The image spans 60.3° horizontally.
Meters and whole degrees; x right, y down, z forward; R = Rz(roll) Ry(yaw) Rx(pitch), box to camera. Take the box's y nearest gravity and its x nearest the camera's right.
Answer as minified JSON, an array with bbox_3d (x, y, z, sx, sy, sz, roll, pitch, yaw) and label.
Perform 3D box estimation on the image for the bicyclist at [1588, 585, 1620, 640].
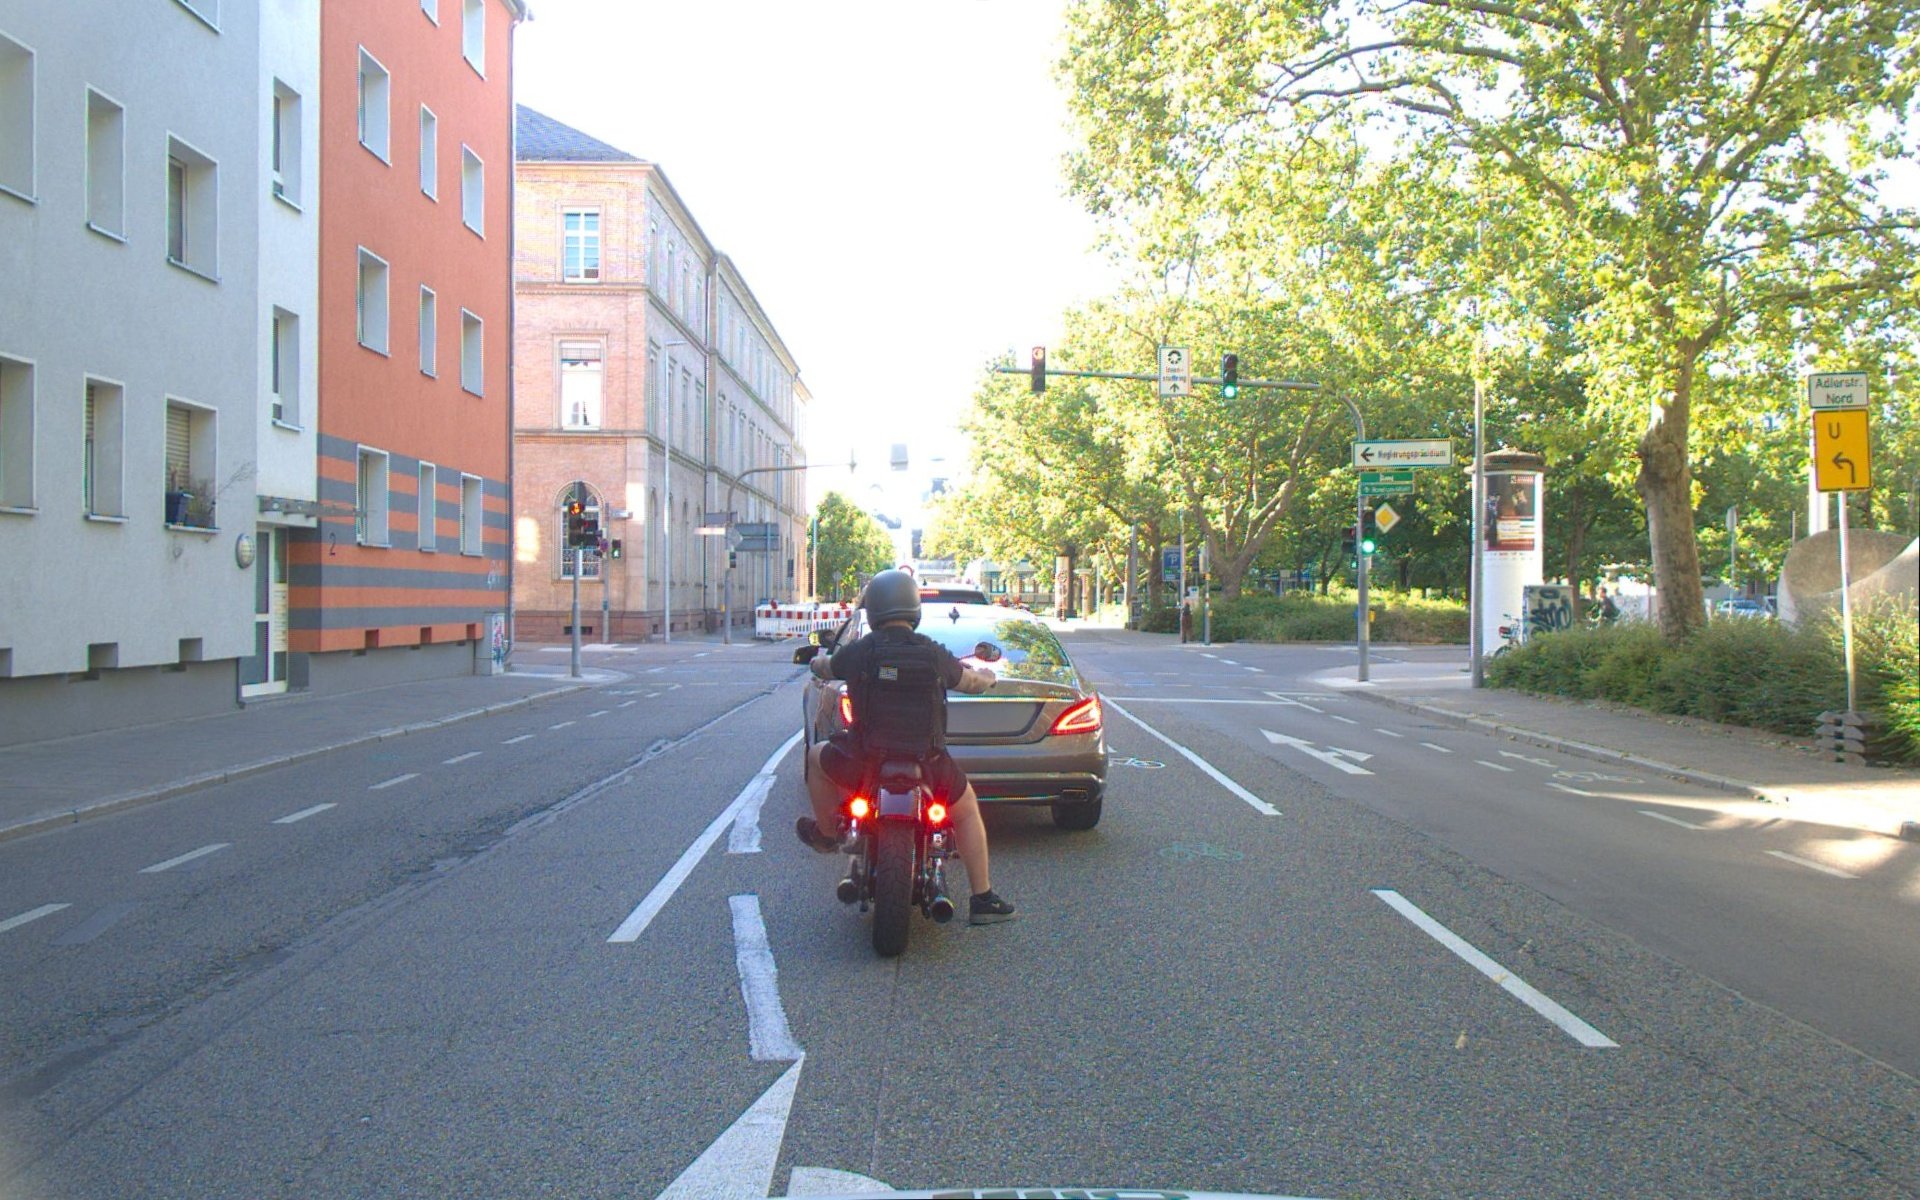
[{"bbox_3d":[18.866,0.368,48.436,0.715,1.610,0.597,1,-1,5],"label":"bicyclist"}]

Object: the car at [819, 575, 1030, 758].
[{"bbox_3d":[-0.361,0.635,17.545,1.953,1.695,3.999,1,0,-1],"label":"car"}]

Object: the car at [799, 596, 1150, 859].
[{"bbox_3d":[-0.112,0.711,11.625,1.834,1.469,4.422,0,0,-8],"label":"car"}]

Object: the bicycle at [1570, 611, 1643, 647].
[{"bbox_3d":[18.915,0.851,48.430,1.877,0.997,0.602,1,0,5],"label":"bicycle"}]

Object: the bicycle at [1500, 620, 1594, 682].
[{"bbox_3d":[9.789,0.842,27.601,1.452,0.997,0.299,1,-1,5],"label":"bicycle"}]

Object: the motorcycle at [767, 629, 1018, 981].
[{"bbox_3d":[-0.276,0.808,7.563,0.961,1.297,2.407,0,0,-1],"label":"motorcycle"}]

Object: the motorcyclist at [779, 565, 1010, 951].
[{"bbox_3d":[-0.281,0.657,7.515,0.961,1.606,1.248,0,0,-1],"label":"motorcyclist"}]

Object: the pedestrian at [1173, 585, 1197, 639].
[{"bbox_3d":[7.649,0.417,56.235,0.604,1.803,0.678,1,-1,-10],"label":"pedestrian"}]
